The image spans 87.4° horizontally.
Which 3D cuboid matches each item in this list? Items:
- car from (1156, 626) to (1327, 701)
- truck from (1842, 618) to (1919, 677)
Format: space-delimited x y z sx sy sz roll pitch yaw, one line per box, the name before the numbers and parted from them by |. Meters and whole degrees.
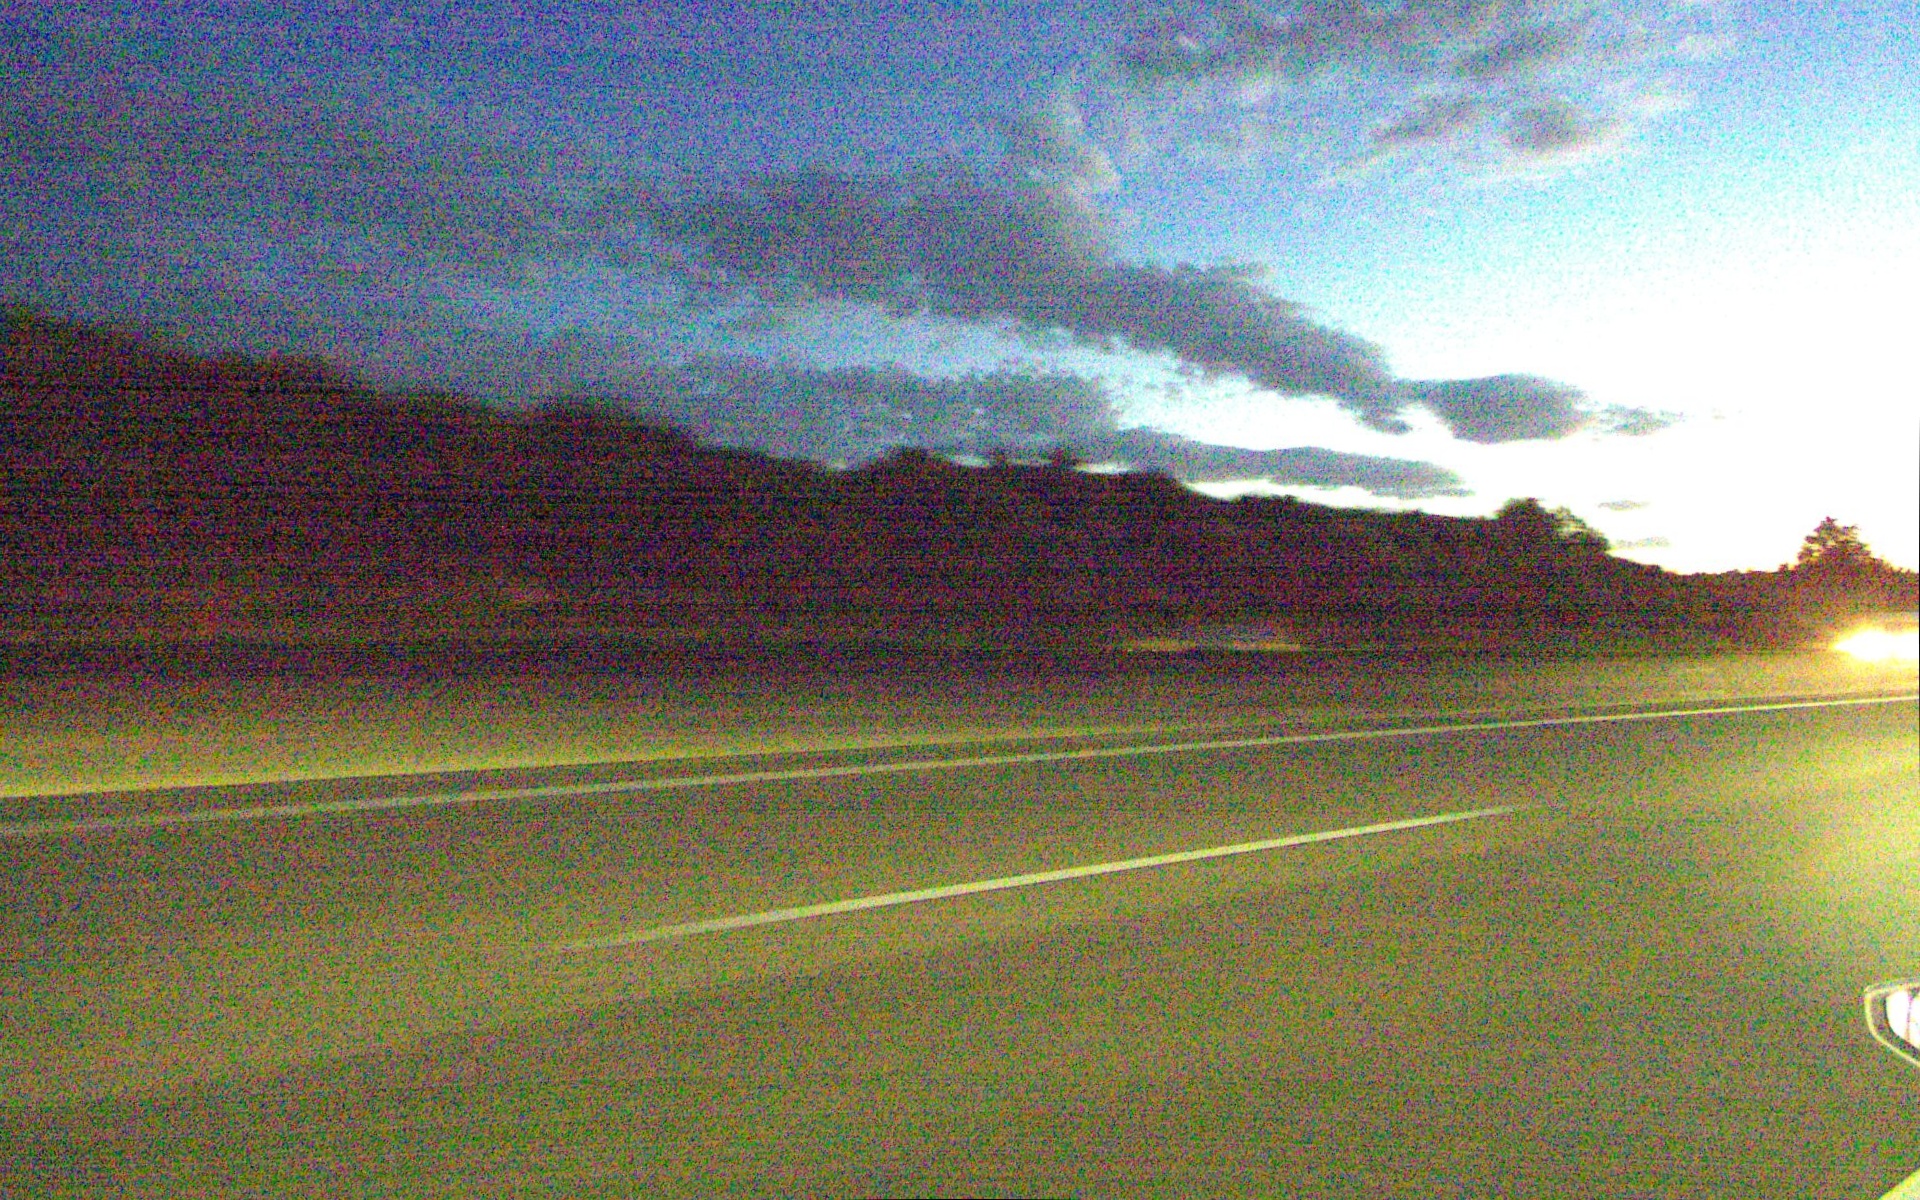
car | 8.329 1.830 29.655 4.707 1.981 2.186 2 0 -30
truck | 46.474 2.298 49.029 7.793 2.676 2.859 2 -1 -30
